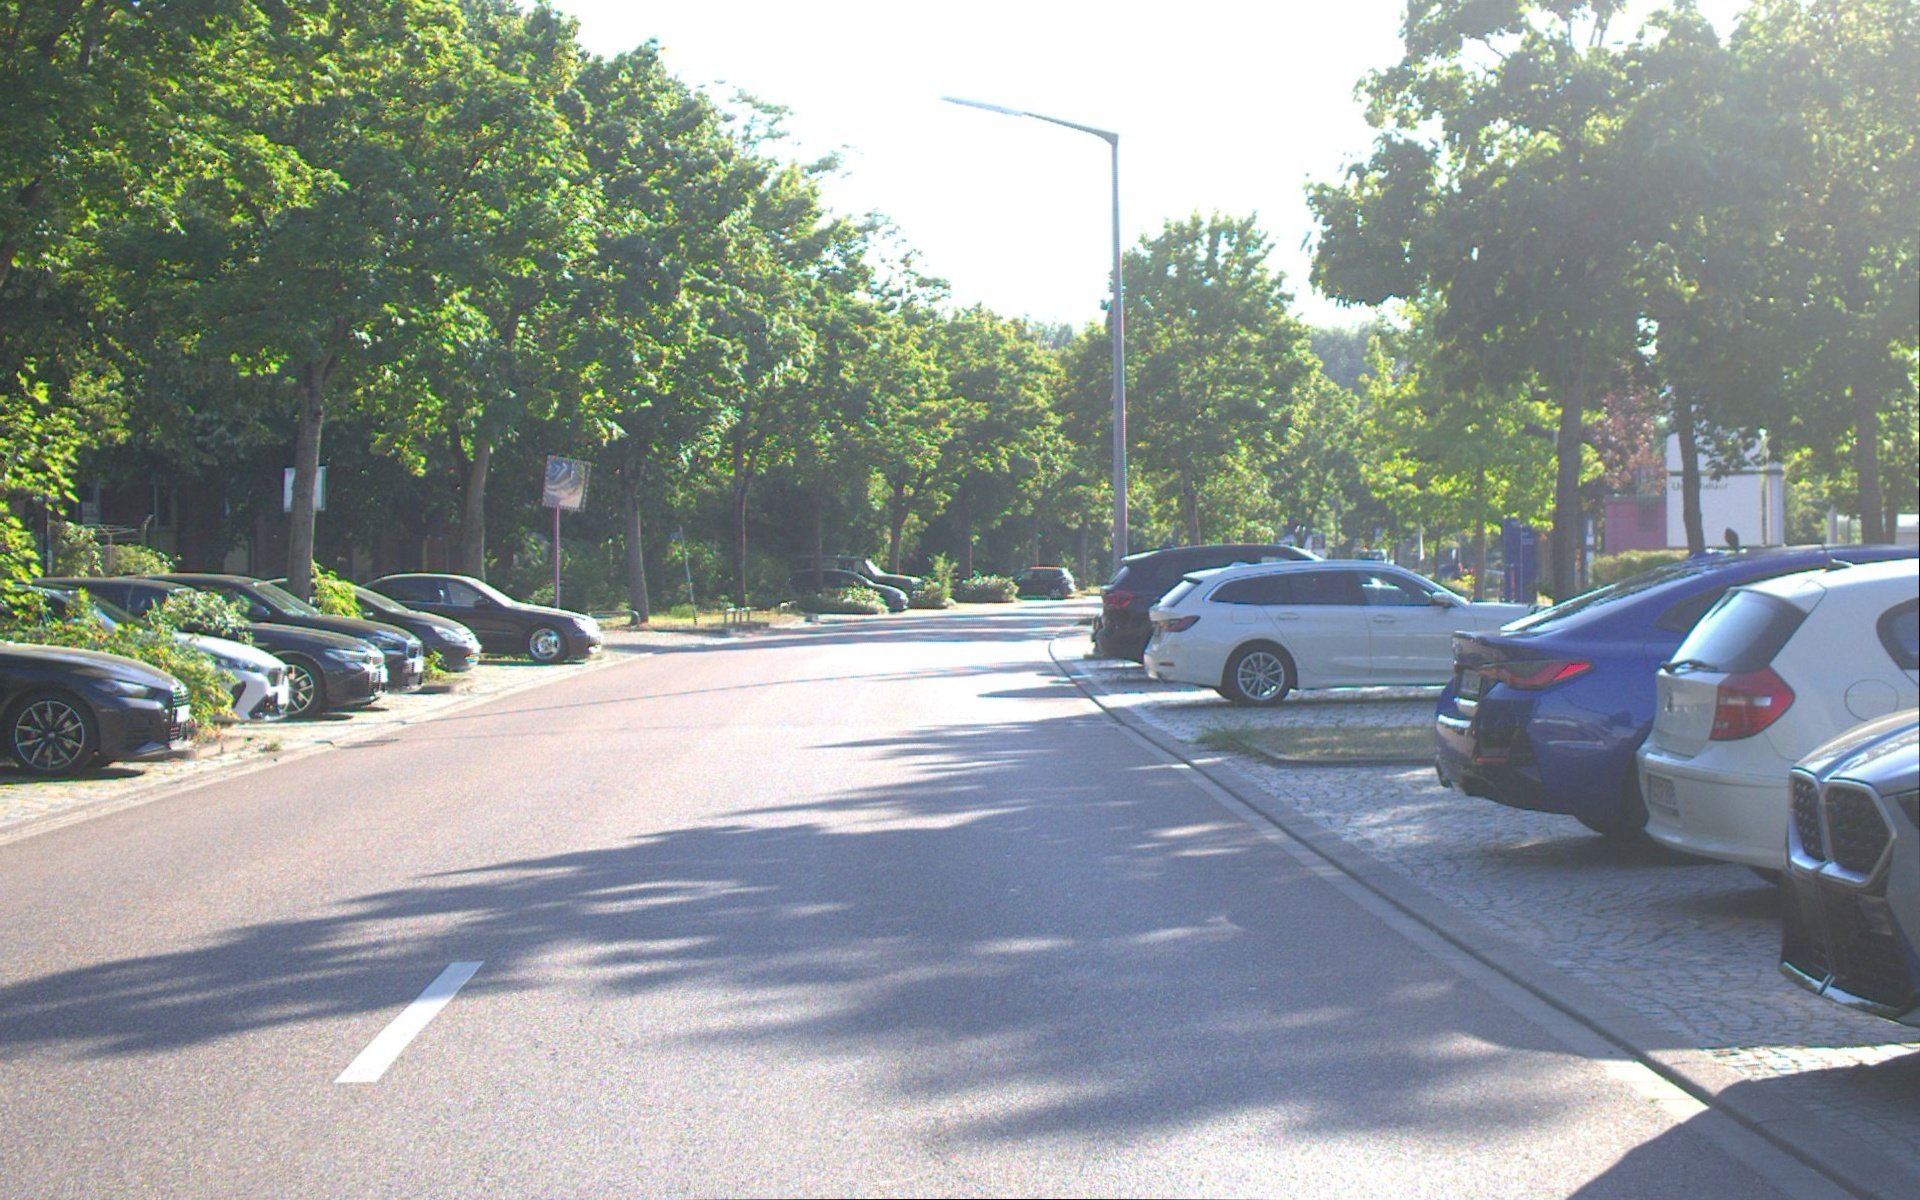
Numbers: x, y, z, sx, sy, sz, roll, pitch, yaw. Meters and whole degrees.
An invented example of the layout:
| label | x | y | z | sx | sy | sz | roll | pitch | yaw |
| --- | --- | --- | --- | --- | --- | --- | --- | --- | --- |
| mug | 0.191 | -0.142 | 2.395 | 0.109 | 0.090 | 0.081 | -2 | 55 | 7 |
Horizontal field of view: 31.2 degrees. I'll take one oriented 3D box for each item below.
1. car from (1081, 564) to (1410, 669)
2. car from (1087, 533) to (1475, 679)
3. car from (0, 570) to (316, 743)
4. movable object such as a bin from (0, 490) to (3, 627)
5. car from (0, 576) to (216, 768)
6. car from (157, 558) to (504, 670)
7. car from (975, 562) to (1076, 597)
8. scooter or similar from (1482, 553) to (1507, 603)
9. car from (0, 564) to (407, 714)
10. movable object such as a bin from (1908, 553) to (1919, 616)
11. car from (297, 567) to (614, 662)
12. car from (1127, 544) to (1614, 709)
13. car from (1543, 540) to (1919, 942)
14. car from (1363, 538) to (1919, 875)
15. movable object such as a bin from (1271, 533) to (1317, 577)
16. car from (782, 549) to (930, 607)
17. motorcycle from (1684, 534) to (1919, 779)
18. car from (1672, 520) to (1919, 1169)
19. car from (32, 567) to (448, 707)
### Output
| label | x | y | z | sx | sy | sz | roll | pitch | yaw |
| --- | --- | --- | --- | --- | --- | --- | --- | --- | --- |
| car | 4.009 | 0.221 | 48.902 | 4.481 | 1.399 | 2.034 | -1 | 1 | 0 |
| car | 3.989 | 0.060 | 43.108 | 4.695 | 1.745 | 2.191 | -1 | 1 | 4 |
| car | -8.495 | 0.502 | 32.801 | 4.286 | 1.525 | 2.000 | 1 | 1 | 1 |
| movable object such as a bin | -20.803 | -0.789 | 67.816 | 2.158 | 2.655 | 4.803 | -1 | 1 | -36 |
| car | -8.399 | 0.517 | 27.151 | 4.648 | 1.417 | 1.917 | 1 | 1 | -3 |
| car | -8.789 | 0.182 | 48.266 | 4.479 | 1.457 | 2.000 | 1 | 1 | 0 |
| car | 3.055 | -0.946 | 159.389 | 4.360 | 1.474 | 1.999 | 2 | 1 | 11 |
| scooter or similar | 13.770 | -0.571 | 88.635 | 0.520 | 1.267 | 1.387 | -1 | 1 | 5 |
| car | -8.658 | 0.412 | 37.940 | 4.849 | 1.525 | 2.000 | 1 | 1 | -4 |
| movable object such as a bin | 19.815 | -0.313 | 69.455 | 1.117 | 1.263 | 1.038 | -1 | 1 | 7 |
| car | -8.452 | 0.232 | 57.913 | 5.034 | 1.457 | 2.000 | 1 | 1 | 0 |
| car | 4.151 | 0.253 | 35.323 | 4.694 | 1.474 | 2.000 | -2 | 1 | -1 |
| car | 4.778 | 0.465 | 14.070 | 4.376 | 1.474 | 2.000 | -2 | 1 | -1 |
| car | 4.440 | 0.438 | 16.836 | 4.624 | 1.451 | 2.000 | -2 | 1 | -1 |
| movable object such as a bin | 23.630 | -3.177 | 243.077 | 2.839 | 3.058 | 4.925 | 2 | 1 | 9 |
| car | -3.692 | -0.799 | 122.882 | 5.006 | 2.013 | 2.174 | -1 | 1 | 7 |
| motorcycle | 5.743 | 0.321 | 21.567 | 2.123 | 1.461 | 0.950 | -2 | 1 | -16 |
| car | 4.526 | 0.497 | 9.505 | 4.590 | 1.579 | 2.000 | -2 | 1 | -3 |
| car | -8.457 | 0.415 | 40.657 | 4.479 | 1.525 | 2.000 | 1 | 1 | 0 |
